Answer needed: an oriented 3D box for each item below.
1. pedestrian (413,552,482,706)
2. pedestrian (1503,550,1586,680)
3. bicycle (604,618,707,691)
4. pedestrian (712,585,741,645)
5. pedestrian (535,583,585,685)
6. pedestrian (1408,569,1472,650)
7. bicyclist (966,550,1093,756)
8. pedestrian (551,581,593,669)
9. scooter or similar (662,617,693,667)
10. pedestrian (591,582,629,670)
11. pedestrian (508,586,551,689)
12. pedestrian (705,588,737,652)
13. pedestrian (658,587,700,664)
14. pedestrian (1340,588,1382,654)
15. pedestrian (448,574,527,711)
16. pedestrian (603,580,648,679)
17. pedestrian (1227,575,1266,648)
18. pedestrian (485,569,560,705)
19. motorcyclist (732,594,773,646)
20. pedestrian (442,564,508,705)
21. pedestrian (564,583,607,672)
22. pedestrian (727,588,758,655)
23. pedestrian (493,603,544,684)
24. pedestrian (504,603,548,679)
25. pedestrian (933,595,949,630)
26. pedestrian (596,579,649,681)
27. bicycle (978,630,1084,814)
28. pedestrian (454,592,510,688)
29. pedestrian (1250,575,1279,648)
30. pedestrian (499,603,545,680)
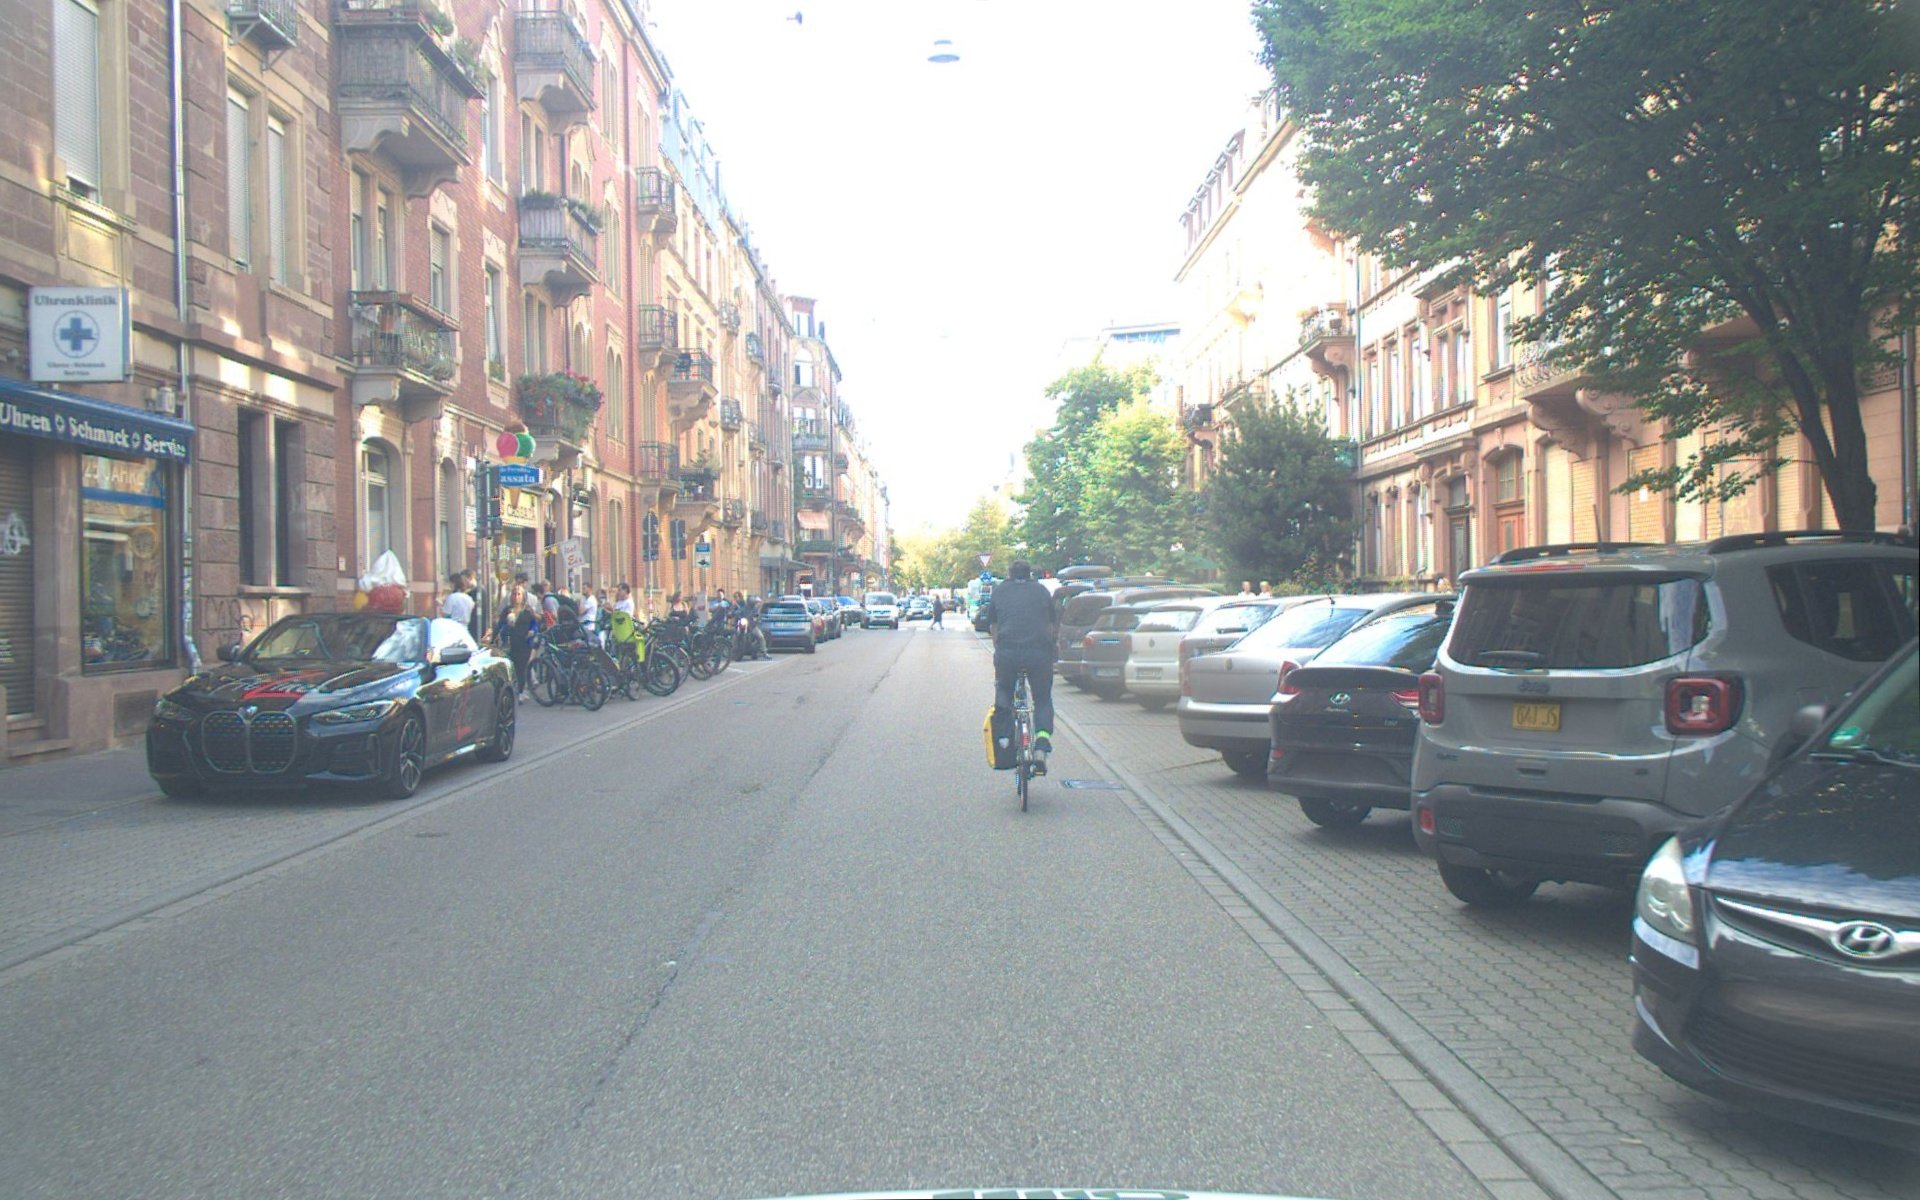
[{"bbox_3d":[-6.936,0.389,22.398,0.630,2.049,0.629,0,0,27],"label":"pedestrian"},{"bbox_3d":[7.726,0.198,21.887,0.716,1.662,0.832,-2,-1,-3],"label":"pedestrian"},{"bbox_3d":[-4.926,0.874,26.806,1.554,1.140,0.583,0,0,-38],"label":"bicycle"},{"bbox_3d":[-7.251,0.465,51.337,0.740,1.840,0.863,0,0,3],"label":"pedestrian"},{"bbox_3d":[-7.486,0.630,30.951,0.753,1.886,0.658,0,0,-32],"label":"pedestrian"},{"bbox_3d":[9.404,0.179,32.413,0.910,1.523,0.811,-2,0,-8],"label":"pedestrian"},{"bbox_3d":[0.511,0.389,12.491,0.914,1.510,0.747,0,0,-1],"label":"bicyclist"},{"bbox_3d":[-7.719,0.489,32.889,0.650,1.725,0.763,0,0,-1],"label":"pedestrian"},{"bbox_3d":[-6.156,0.906,36.071,0.593,1.074,0.921,1,0,-6],"label":"scooter or similar"},{"bbox_3d":[-6.910,0.506,32.643,0.558,1.725,0.640,1,0,-32],"label":"pedestrian"},{"bbox_3d":[-6.961,0.602,26.747,0.542,1.645,0.584,0,0,-1],"label":"pedestrian"},{"bbox_3d":[-6.304,0.520,43.646,0.672,1.690,0.545,0,0,-31],"label":"pedestrian"},{"bbox_3d":[-6.253,0.562,36.810,0.894,1.690,0.826,0,0,-9],"label":"pedestrian"},{"bbox_3d":[7.863,0.412,32.463,0.588,1.240,0.673,-4,0,-1],"label":"pedestrian"},{"bbox_3d":[-6.305,0.556,22.080,0.746,1.790,0.665,0,0,29],"label":"pedestrian"},{"bbox_3d":[-6.121,0.532,30.283,0.591,1.782,0.726,0,0,10],"label":"pedestrian"},{"bbox_3d":[6.843,0.262,39.531,0.643,1.724,0.688,0,0,-44],"label":"pedestrian"},{"bbox_3d":[-6.101,0.504,23.083,0.746,1.850,0.665,0,0,29],"label":"pedestrian"},{"bbox_3d":[-5.127,0.498,40.877,0.994,1.267,0.802,0,0,-7],"label":"motorcyclist"},{"bbox_3d":[-6.747,0.467,23.028,0.634,1.925,0.600,0,0,29],"label":"pedestrian"},{"bbox_3d":[-7.282,0.528,32.156,0.657,1.725,0.579,0,0,-32],"label":"pedestrian"},{"bbox_3d":[-5.724,0.558,43.525,0.559,1.739,0.659,1,0,-36],"label":"pedestrian"},{"bbox_3d":[-7.338,0.714,27.486,0.709,1.336,0.606,0,0,-4],"label":"pedestrian"},{"bbox_3d":[-7.630,0.718,29.089,0.687,1.336,0.372,0,0,-5],"label":"pedestrian"},{"bbox_3d":[-0.945,0.621,83.251,0.615,1.769,0.776,-1,0,11],"label":"pedestrian"},{"bbox_3d":[-5.986,0.528,29.374,0.591,1.782,0.946,0,0,11],"label":"pedestrian"},{"bbox_3d":[0.491,0.844,12.402,0.652,1.198,2.496,0,0,-1],"label":"bicycle"},{"bbox_3d":[-7.572,0.623,26.230,0.591,1.495,0.726,0,0,10],"label":"pedestrian"},{"bbox_3d":[7.161,0.267,38.914,0.561,1.688,0.632,0,0,-1],"label":"pedestrian"},{"bbox_3d":[-7.596,0.716,28.678,0.703,1.336,0.439,0,0,-5],"label":"pedestrian"}]
